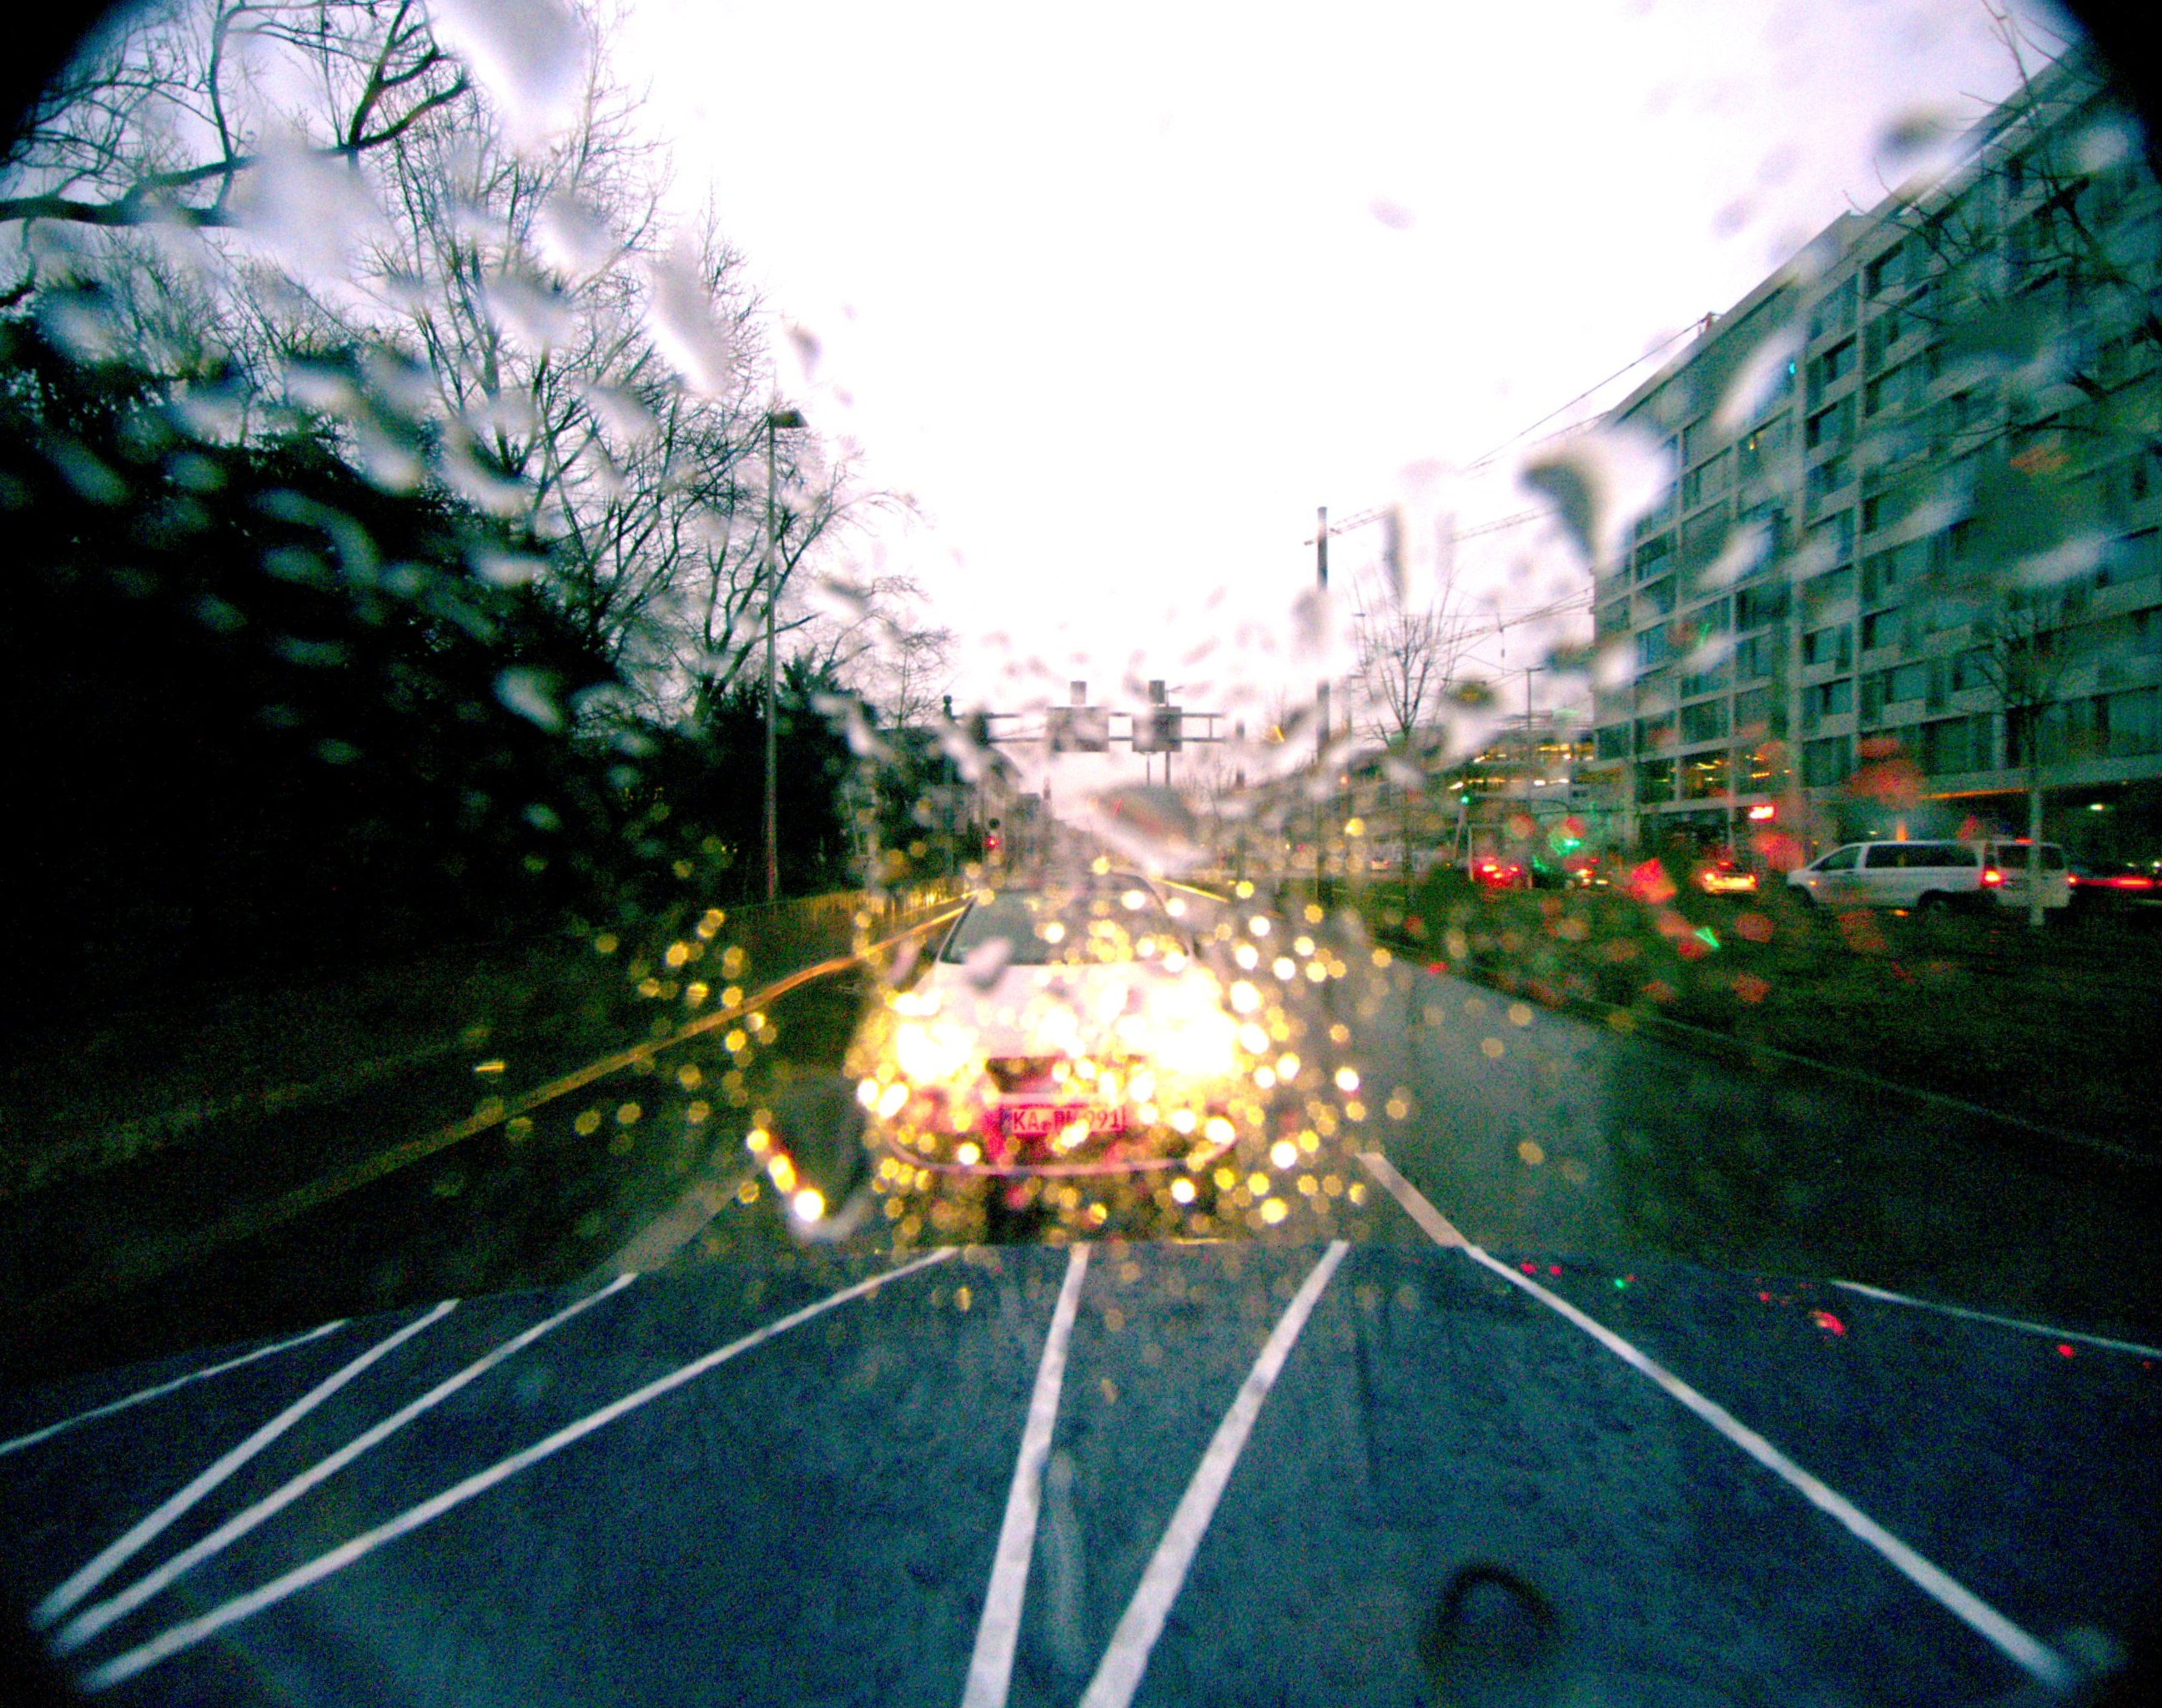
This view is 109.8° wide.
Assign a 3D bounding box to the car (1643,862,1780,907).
[{"bbox_3d":[26.995,1.249,32.806,1.900,1.709,4.916,0,0,1],"label":"car"}]

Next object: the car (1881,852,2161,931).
[{"bbox_3d":[23.527,0.819,18.991,1.900,1.709,4.916,0,0,1],"label":"car"}]

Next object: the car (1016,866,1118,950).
[{"bbox_3d":[-0.247,0.972,15.190,1.728,1.318,3.981,-2,1,0],"label":"car"}]

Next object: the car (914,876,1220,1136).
[{"bbox_3d":[-0.084,0.968,6.543,1.798,1.363,3.981,-2,1,0],"label":"car"}]

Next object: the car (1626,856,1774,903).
[{"bbox_3d":[20.362,0.778,25.204,1.901,1.423,3.706,0,0,0],"label":"car"}]

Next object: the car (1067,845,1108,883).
[{"bbox_3d":[0.279,0.441,36.147,1.781,1.666,3.981,-2,1,0],"label":"car"}]

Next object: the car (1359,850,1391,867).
[{"bbox_3d":[30.922,0.451,80.126,1.900,1.709,4.918,0,0,5],"label":"car"}]

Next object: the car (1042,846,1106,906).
[{"bbox_3d":[-0.208,0.622,23.816,1.781,1.666,3.981,-2,1,0],"label":"car"}]

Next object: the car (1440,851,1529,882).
[{"bbox_3d":[20.413,0.592,38.721,1.998,1.459,5.034,0,0,1],"label":"car"}]

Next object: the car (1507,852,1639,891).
[{"bbox_3d":[20.505,0.684,31.913,2.001,1.488,4.444,0,0,-15],"label":"car"}]

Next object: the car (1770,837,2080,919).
[{"bbox_3d":[19.868,0.489,18.364,1.900,1.709,5.118,0,0,1],"label":"car"}]

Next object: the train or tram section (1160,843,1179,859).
[{"bbox_3d":[20.330,-0.666,174.626,2.964,3.466,14.266,0,0,1],"label":"train or tram section"}]

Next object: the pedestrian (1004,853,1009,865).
[{"bbox_3d":[-9.072,0.639,92.625,0.521,1.501,0.588,0,1,1],"label":"pedestrian"}]
